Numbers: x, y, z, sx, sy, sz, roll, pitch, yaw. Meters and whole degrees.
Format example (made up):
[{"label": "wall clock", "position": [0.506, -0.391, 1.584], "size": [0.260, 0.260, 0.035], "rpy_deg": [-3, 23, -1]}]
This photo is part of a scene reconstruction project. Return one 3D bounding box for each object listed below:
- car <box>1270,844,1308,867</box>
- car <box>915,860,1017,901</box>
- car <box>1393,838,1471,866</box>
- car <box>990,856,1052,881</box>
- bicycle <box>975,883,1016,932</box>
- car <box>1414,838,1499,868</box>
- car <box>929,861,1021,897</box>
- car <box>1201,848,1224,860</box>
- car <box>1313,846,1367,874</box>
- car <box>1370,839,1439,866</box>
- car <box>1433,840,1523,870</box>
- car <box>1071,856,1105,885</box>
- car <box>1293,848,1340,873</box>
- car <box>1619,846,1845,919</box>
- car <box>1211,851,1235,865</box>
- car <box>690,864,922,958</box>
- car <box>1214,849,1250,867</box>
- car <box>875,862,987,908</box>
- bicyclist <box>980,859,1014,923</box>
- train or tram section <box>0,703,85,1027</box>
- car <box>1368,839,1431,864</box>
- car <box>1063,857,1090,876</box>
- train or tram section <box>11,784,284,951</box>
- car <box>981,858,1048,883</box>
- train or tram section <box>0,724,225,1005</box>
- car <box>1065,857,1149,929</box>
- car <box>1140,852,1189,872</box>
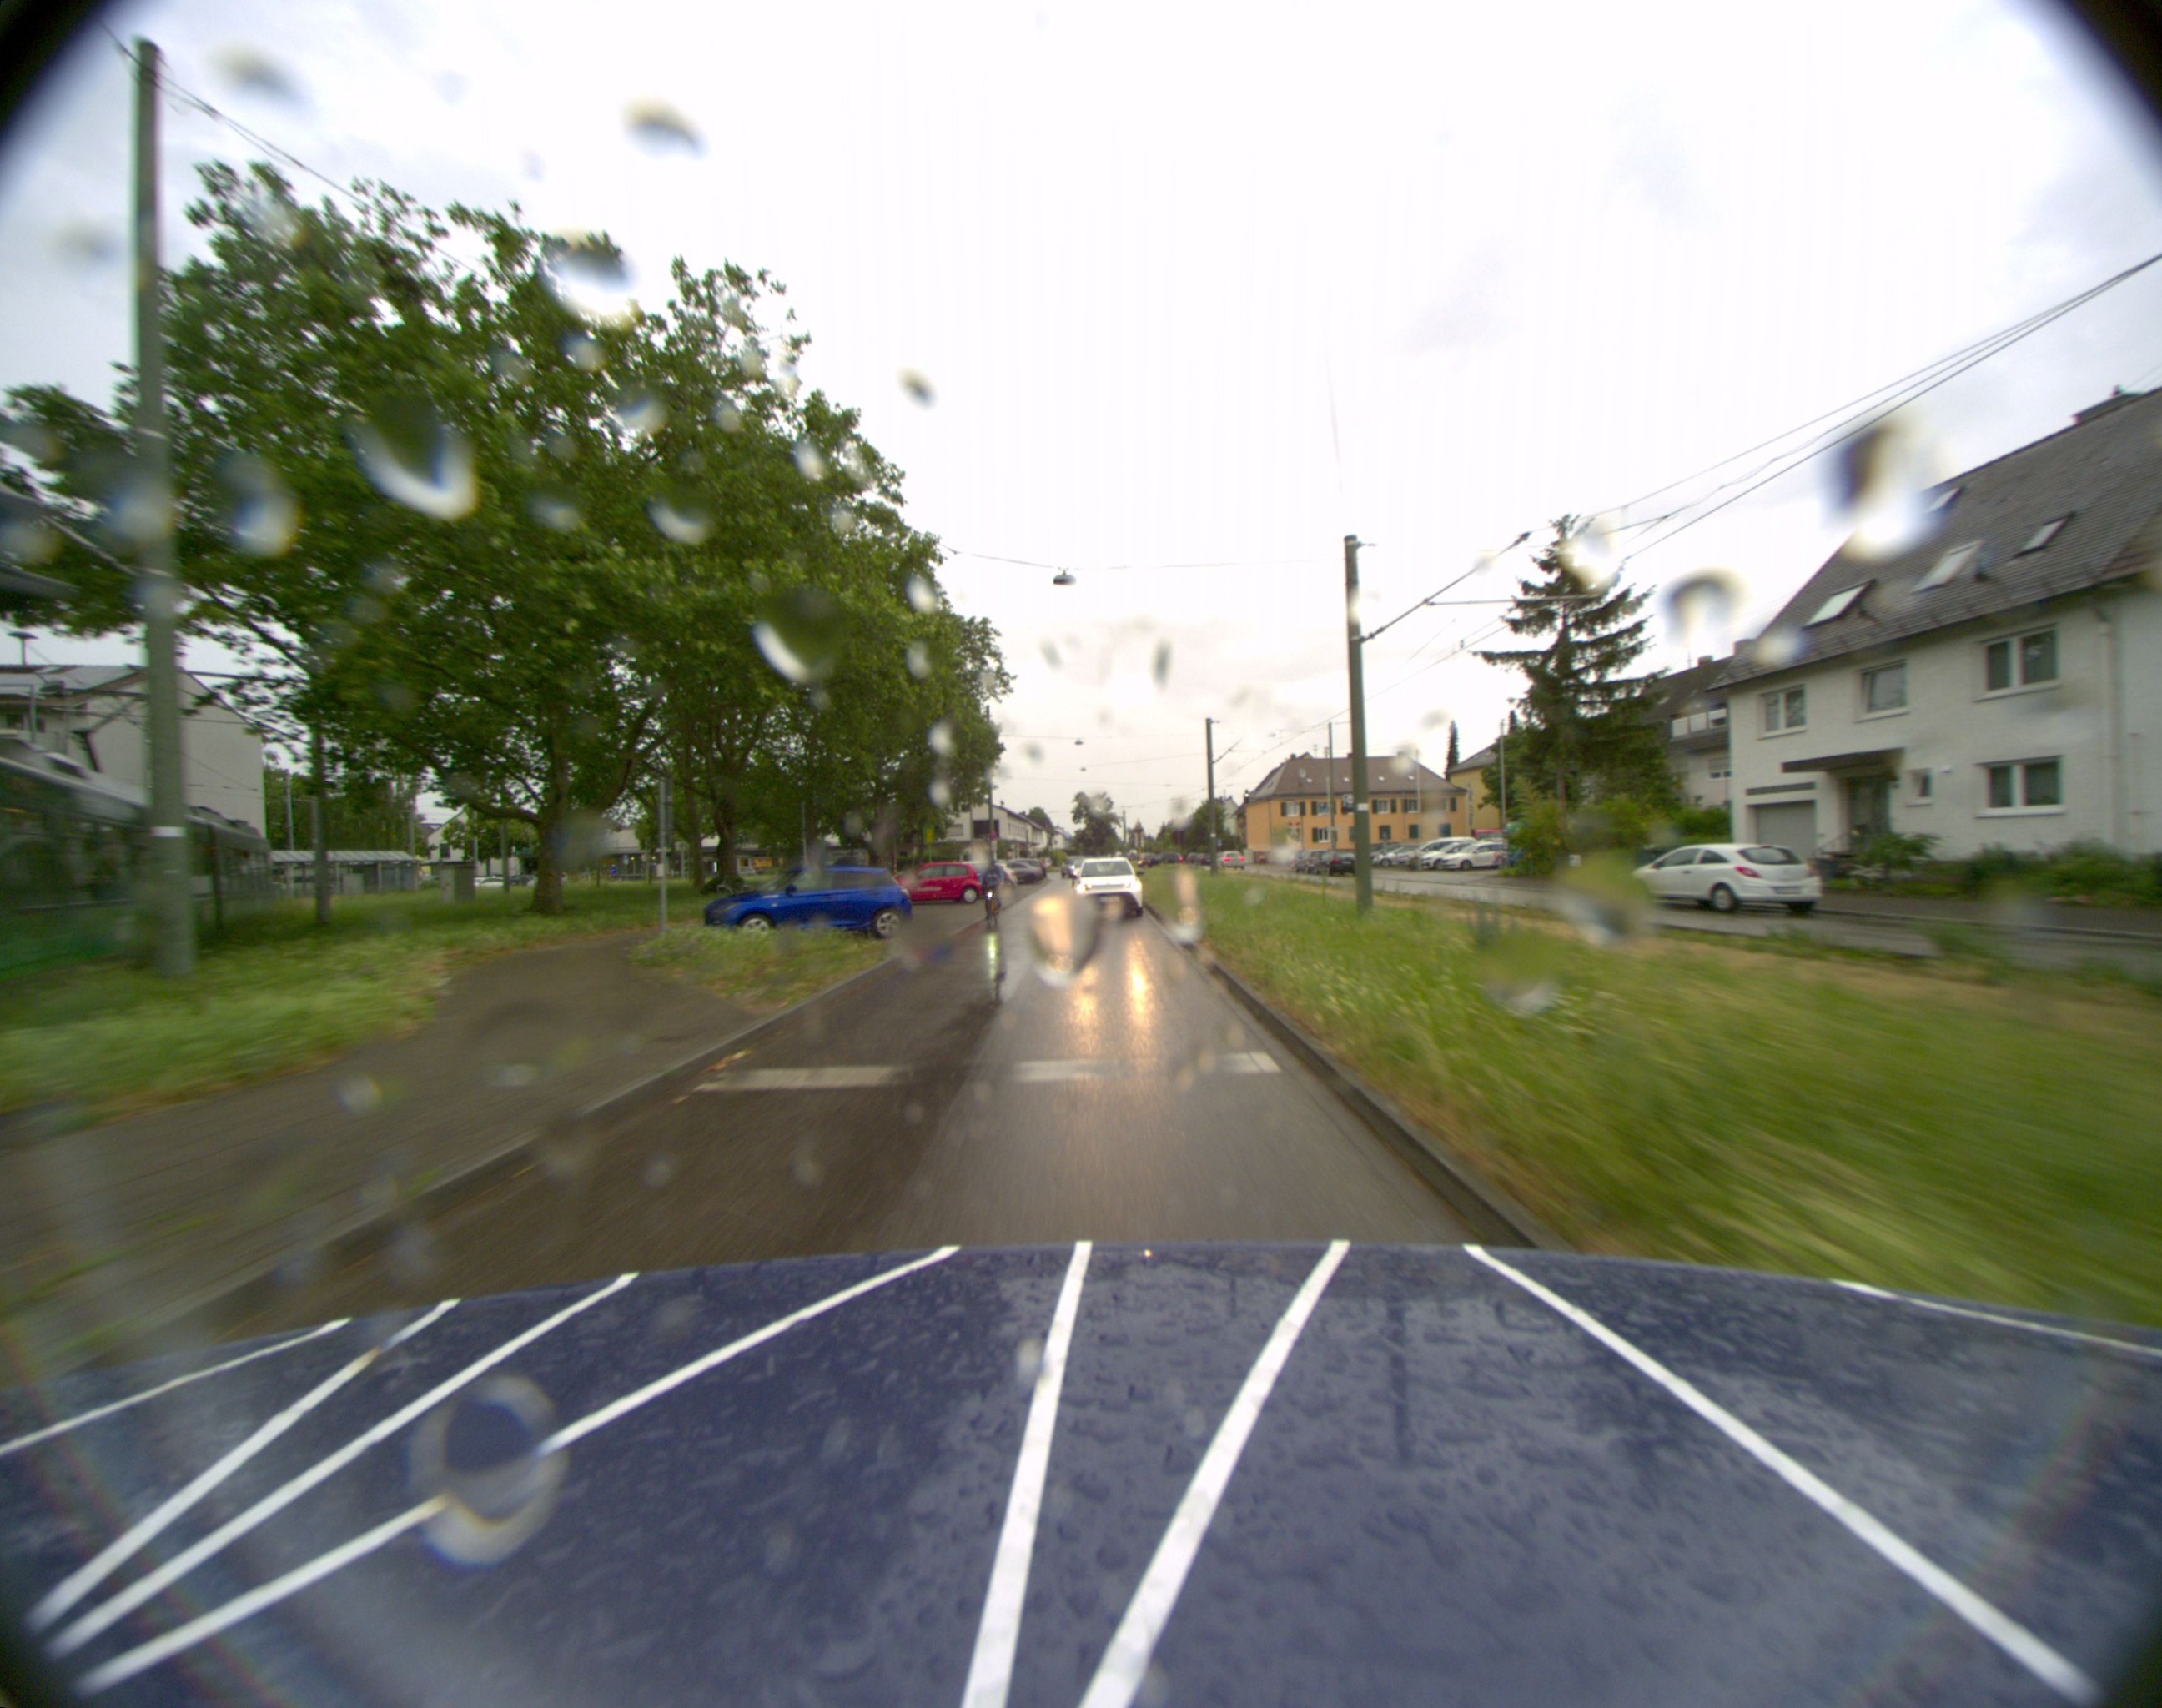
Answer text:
[{"label": "car", "position": [15.950, 0.067, 58.454], "size": [1.998, 1.648, 4.000], "rpy_deg": [-3, 1, 3]}, {"label": "car", "position": [-4.608, 1.030, 30.481], "size": [3.711, 1.475, 1.616], "rpy_deg": [-1, 1, -24]}, {"label": "car", "position": [21.941, -0.130, 47.597], "size": [3.994, 1.586, 1.915], "rpy_deg": [-3, 0, 9]}, {"label": "car", "position": [-3.940, 0.916, 49.699], "size": [3.711, 1.513, 1.616], "rpy_deg": [-1, 1, -24]}, {"label": "bicycle", "position": [-2.057, 1.269, 18.605], "size": [0.710, 1.031, 2.099], "rpy_deg": [-1, 0, 1]}, {"label": "car", "position": [22.048, -0.071, 44.698], "size": [3.996, 1.586, 1.914], "rpy_deg": [-3, 0, 3]}, {"label": "car", "position": [-4.725, 1.079, 33.916], "size": [3.711, 1.475, 1.616], "rpy_deg": [-1, 1, -24]}, {"label": "car", "position": [15.759, -0.002, 91.443], "size": [2.096, 1.423, 4.077], "rpy_deg": [-1, 0, 0]}, {"label": "car", "position": [15.220, 0.324, 44.884], "size": [1.912, 1.581, 4.000], "rpy_deg": [-1, 0, 1]}, {"label": "car", "position": [21.557, -0.100, 50.763], "size": [3.993, 1.586, 1.915], "rpy_deg": [-2, 0, 15]}, {"label": "car", "position": [21.997, 0.061, 42.224], "size": [3.996, 1.455, 1.914], "rpy_deg": [-3, 0, 3]}, {"label": "car", "position": [0.396, 0.901, 43.455], "size": [1.853, 1.500, 4.120], "rpy_deg": [-1, 0, 1]}, {"label": "car", "position": [15.307, 0.389, 49.566], "size": [1.881, 1.520, 4.000], "rpy_deg": [-1, 0, 1]}, {"label": "car", "position": [14.430, 0.567, 17.183], "size": [1.715, 1.432, 4.000], "rpy_deg": [-1, 0, 0]}, {"label": "car", "position": [15.444, 0.386, 82.726], "size": [1.885, 1.423, 4.077], "rpy_deg": [-1, 0, 0]}, {"label": "car", "position": [-5.394, 1.025, 15.035], "size": [4.006, 1.518, 1.715], "rpy_deg": [-2, 1, -31]}, {"label": "car", "position": [12.234, 0.299, 61.753], "size": [2.105, 1.423, 4.279], "rpy_deg": [-1, 0, 1]}, {"label": "car", "position": [-5.313, 1.039, 26.896], "size": [3.582, 1.451, 1.616], "rpy_deg": [-1, 1, -25]}, {"label": "bicyclist", "position": [-2.064, 0.894, 18.637], "size": [0.710, 1.504, 0.715], "rpy_deg": [-1, 1, 1]}, {"label": "train or tram section", "position": [-11.793, 0.110, 6.513], "size": [2.763, 3.320, 6.383], "rpy_deg": [-2, 1, -42]}, {"label": "car", "position": [22.334, -0.158, 53.450], "size": [3.991, 1.586, 1.916], "rpy_deg": [-2, 0, 21]}, {"label": "car", "position": [-0.374, 0.943, 57.986], "size": [1.712, 1.363, 3.875], "rpy_deg": [-1, 0, -6]}, {"label": "train or tram section", "position": [-23.621, 0.293, 19.927], "size": [2.763, 3.320, 10.323], "rpy_deg": [-2, 1, -41]}, {"label": "car", "position": [-4.078, 1.007, 46.582], "size": [3.711, 1.408, 1.616], "rpy_deg": [-1, 1, -24]}, {"label": "train or tram section", "position": [-16.861, 0.192, 12.201], "size": [2.763, 3.320, 10.323], "rpy_deg": [-2, 1, -41]}, {"label": "car", "position": [0.618, 0.900, 19.433], "size": [1.853, 1.500, 4.120], "rpy_deg": [-3, 0, 1]}, {"label": "car", "position": [7.500, 0.694, 68.237], "size": [4.117, 1.732, 2.002], "rpy_deg": [-1, 1, 16]}]
